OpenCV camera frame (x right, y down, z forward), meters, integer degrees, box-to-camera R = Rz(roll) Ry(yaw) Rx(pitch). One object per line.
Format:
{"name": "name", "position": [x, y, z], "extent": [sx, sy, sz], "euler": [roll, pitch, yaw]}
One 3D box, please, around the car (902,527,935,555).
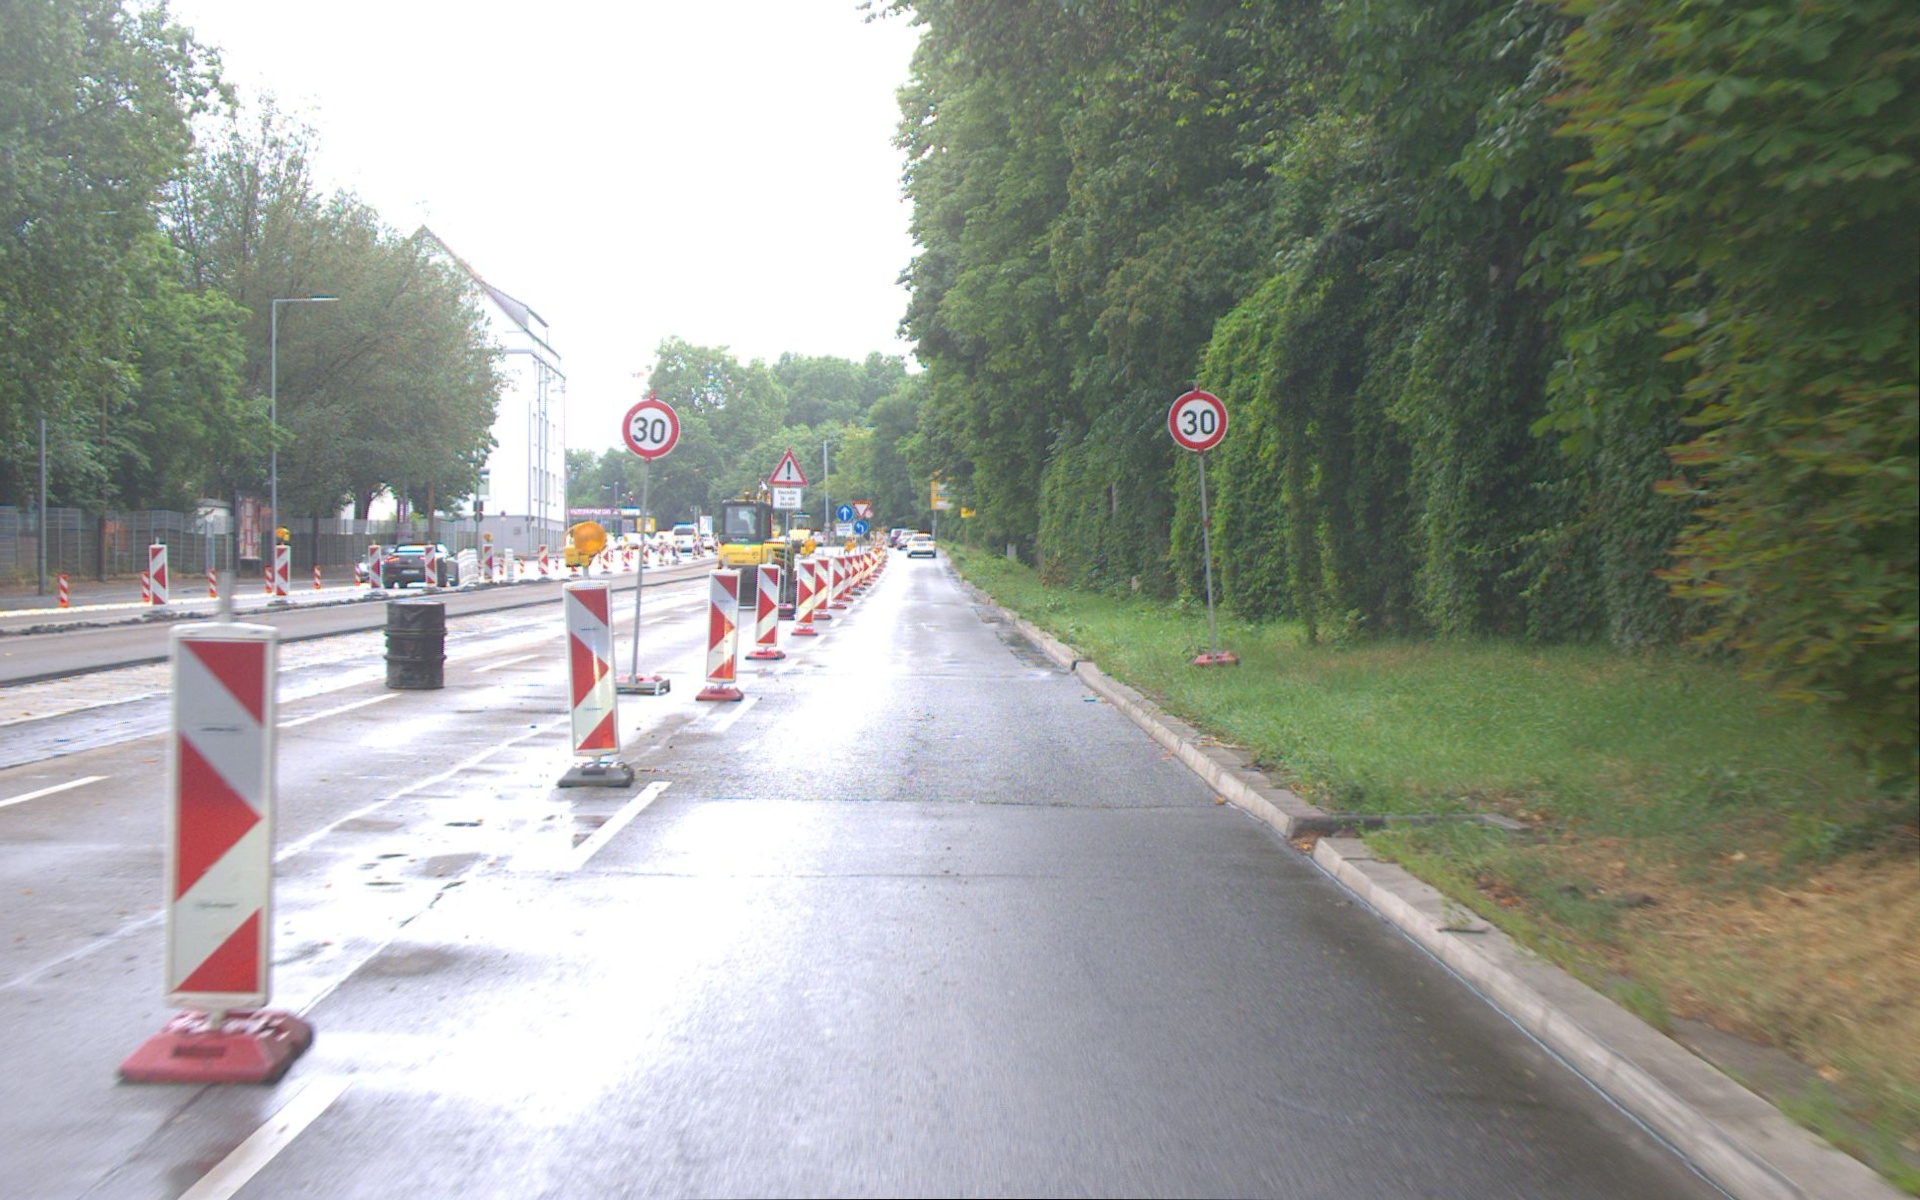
{"name": "car", "position": [-2.608, -3.721, 215.918], "extent": [1.993, 1.667, 4.000], "euler": [1, 0, 0]}

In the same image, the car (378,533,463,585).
{"name": "car", "position": [-16.315, -1.222, 104.084], "extent": [1.993, 1.514, 4.000], "euler": [1, 0, -1]}

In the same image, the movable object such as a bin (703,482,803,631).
{"name": "movable object such as a bin", "position": [-4.877, -1.012, 81.708], "extent": [1.993, 3.356, 5.982], "euler": [1, 0, -1]}
